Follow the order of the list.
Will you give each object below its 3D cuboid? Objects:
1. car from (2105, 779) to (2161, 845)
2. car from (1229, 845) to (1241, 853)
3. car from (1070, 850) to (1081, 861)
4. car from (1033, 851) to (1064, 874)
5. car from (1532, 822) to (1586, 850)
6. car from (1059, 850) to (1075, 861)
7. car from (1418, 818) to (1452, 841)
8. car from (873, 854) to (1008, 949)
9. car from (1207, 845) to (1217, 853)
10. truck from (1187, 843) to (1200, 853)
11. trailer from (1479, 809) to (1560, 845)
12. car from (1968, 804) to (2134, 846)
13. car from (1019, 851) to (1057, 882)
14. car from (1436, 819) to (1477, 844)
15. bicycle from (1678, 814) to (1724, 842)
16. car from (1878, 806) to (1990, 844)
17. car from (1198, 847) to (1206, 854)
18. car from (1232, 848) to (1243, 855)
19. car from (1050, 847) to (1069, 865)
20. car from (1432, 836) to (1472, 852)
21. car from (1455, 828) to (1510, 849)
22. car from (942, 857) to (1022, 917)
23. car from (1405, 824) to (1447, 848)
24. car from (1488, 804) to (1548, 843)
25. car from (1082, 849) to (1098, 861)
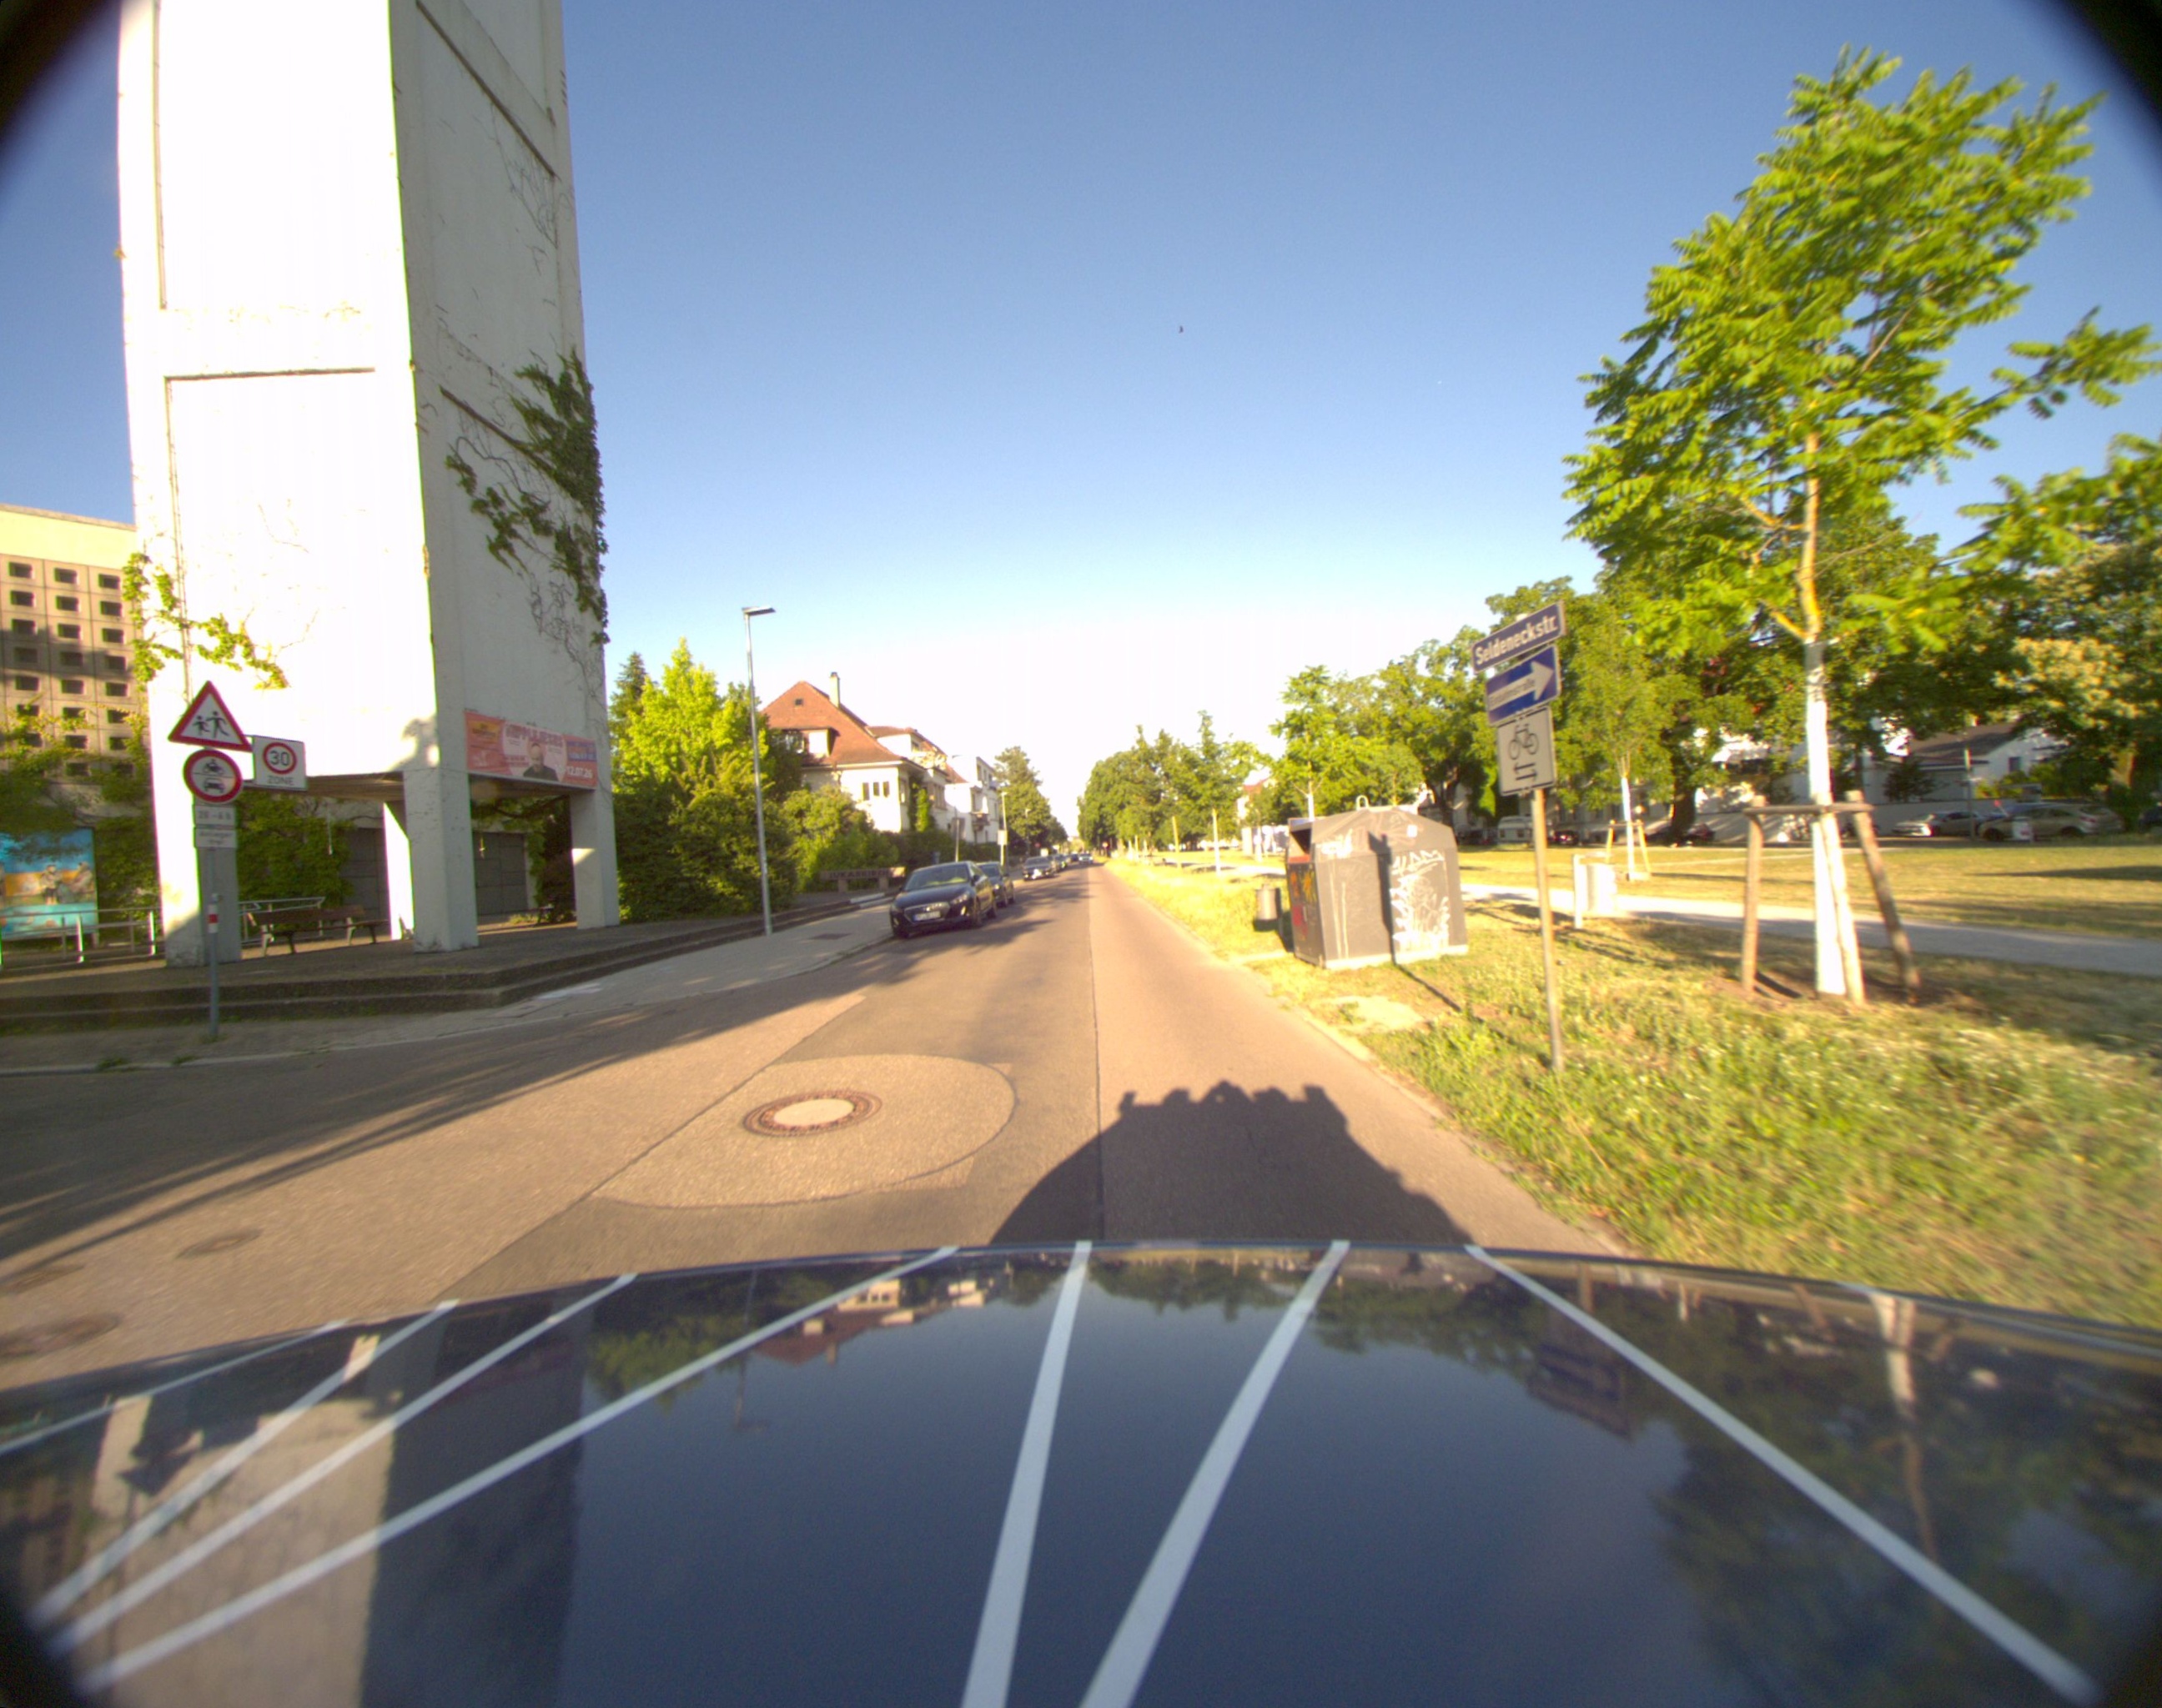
[{"bbox_3d":[40.135,-1.491,26.491,1.942,2.405,5.116,1,2,1],"label":"car"},{"bbox_3d":[36.056,-1.097,178.289,1.998,1.692,4.000,-3,0,1],"label":"car"},{"bbox_3d":[-1.110,0.326,151.401,1.998,2.179,4.001,-3,0,1],"label":"car"},{"bbox_3d":[-2.548,0.641,60.320,1.888,1.528,4.461,-6,1,2],"label":"car"},{"bbox_3d":[40.011,-1.465,63.769,1.998,2.142,4.000,-3,0,1],"label":"car"},{"bbox_3d":[-2.089,0.240,113.949,2.111,1.396,4.132,-8,0,1],"label":"car"},{"bbox_3d":[40.580,-2.830,87.205,1.998,2.527,3.998,-3,2,1],"label":"car"},{"bbox_3d":[-2.944,0.920,17.023,1.827,1.552,4.621,-9,0,2],"label":"car"},{"bbox_3d":[36.184,-1.400,209.994,2.125,2.002,3.998,1,2,-1],"label":"car"},{"bbox_3d":[36.380,-1.831,245.912,2.785,3.128,7.709,-3,0,0],"label":"truck"},{"bbox_3d":[34.383,-2.082,59.879,2.479,2.644,6.634,1,2,0],"label":"trailer"},{"bbox_3d":[40.312,-1.147,31.733,1.999,1.534,3.809,-3,1,-1],"label":"car"},{"bbox_3d":[-2.719,0.727,49.029,1.999,1.588,4.885,-7,1,0],"label":"car"},{"bbox_3d":[40.607,-2.395,82.365,1.950,2.625,5.043,1,2,1],"label":"car"},{"bbox_3d":[31.216,-1.284,38.280,0.512,1.334,2.331,-3,0,4],"label":"bicycle"},{"bbox_3d":[49.847,-1.665,44.452,4.524,1.889,1.980,-3,1,-4],"label":"car"},{"bbox_3d":[36.670,-0.983,230.181,1.998,2.002,4.001,-3,0,3],"label":"car"},{"bbox_3d":[41.795,-0.672,202.636,1.999,1.895,3.999,-3,0,-2],"label":"car"},{"bbox_3d":[-2.339,0.149,84.836,1.805,1.639,4.582,-8,2,-1],"label":"car"},{"bbox_3d":[34.598,-0.974,71.008,1.857,1.308,4.042,-4,1,4],"label":"car"},{"bbox_3d":[34.619,-1.356,65.740,1.999,1.632,4.950,-4,1,-1],"label":"car"},{"bbox_3d":[-2.981,0.950,23.735,1.692,1.519,4.175,-7,0,1],"label":"car"},{"bbox_3d":[34.651,-1.753,76.449,1.999,2.161,4.570,-3,0,-2],"label":"car"},{"bbox_3d":[40.338,-2.772,70.400,1.998,3.230,6.075,-3,0,1],"label":"car"},{"bbox_3d":[1.109,0.118,99.796,1.999,1.483,3.999,-2,0,0],"label":"car"}]
